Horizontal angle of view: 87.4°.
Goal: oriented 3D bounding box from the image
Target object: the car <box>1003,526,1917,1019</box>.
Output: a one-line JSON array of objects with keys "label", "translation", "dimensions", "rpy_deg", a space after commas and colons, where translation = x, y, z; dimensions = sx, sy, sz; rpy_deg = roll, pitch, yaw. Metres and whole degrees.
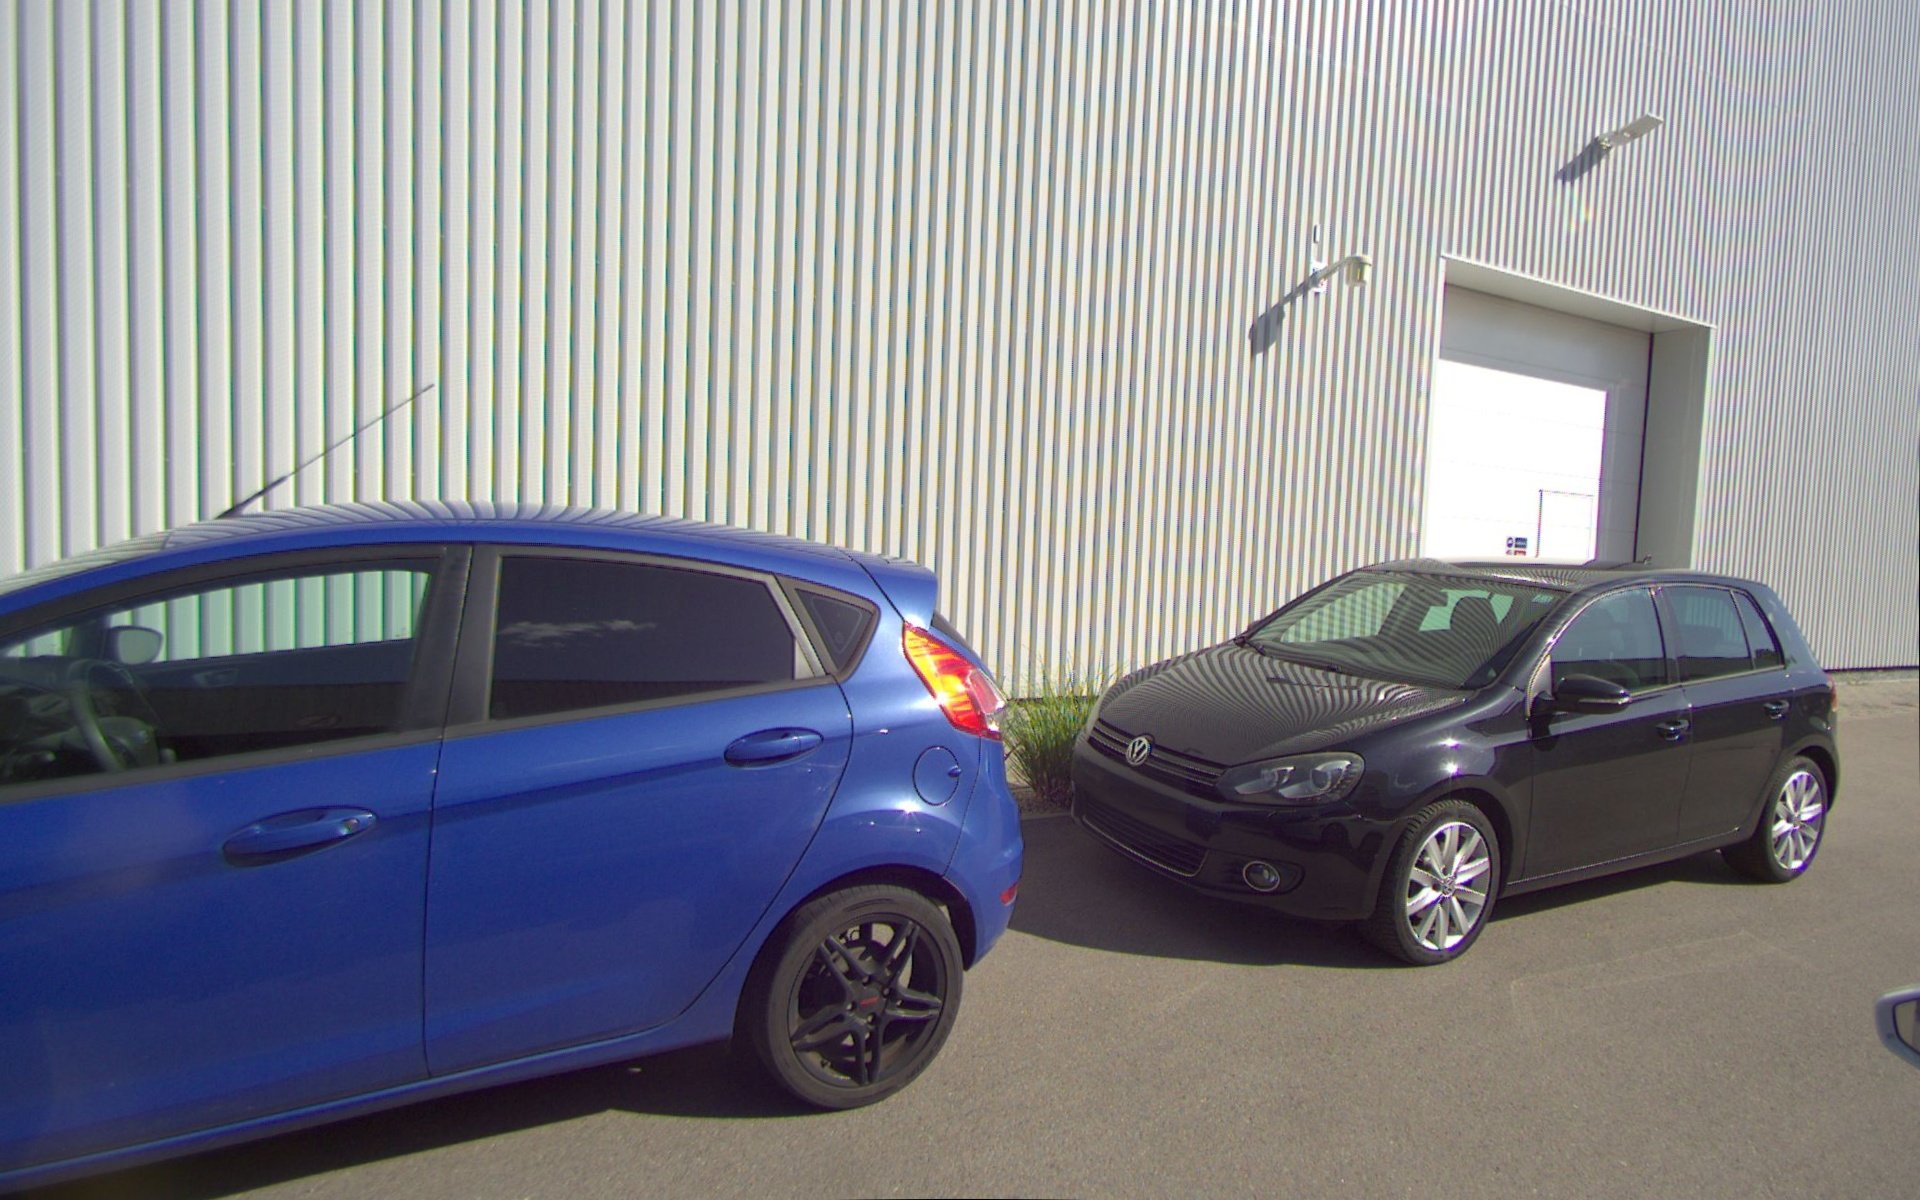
[{"label": "car", "translation": [2.502, 0.519, 4.888], "dimensions": [4.239, 1.520, 1.747], "rpy_deg": [1, 5, -28]}]

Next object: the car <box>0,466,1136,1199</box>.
[{"label": "car", "translation": [-1.710, 0.471, 2.508], "dimensions": [4.044, 1.520, 1.623], "rpy_deg": [1, 5, -29]}]
